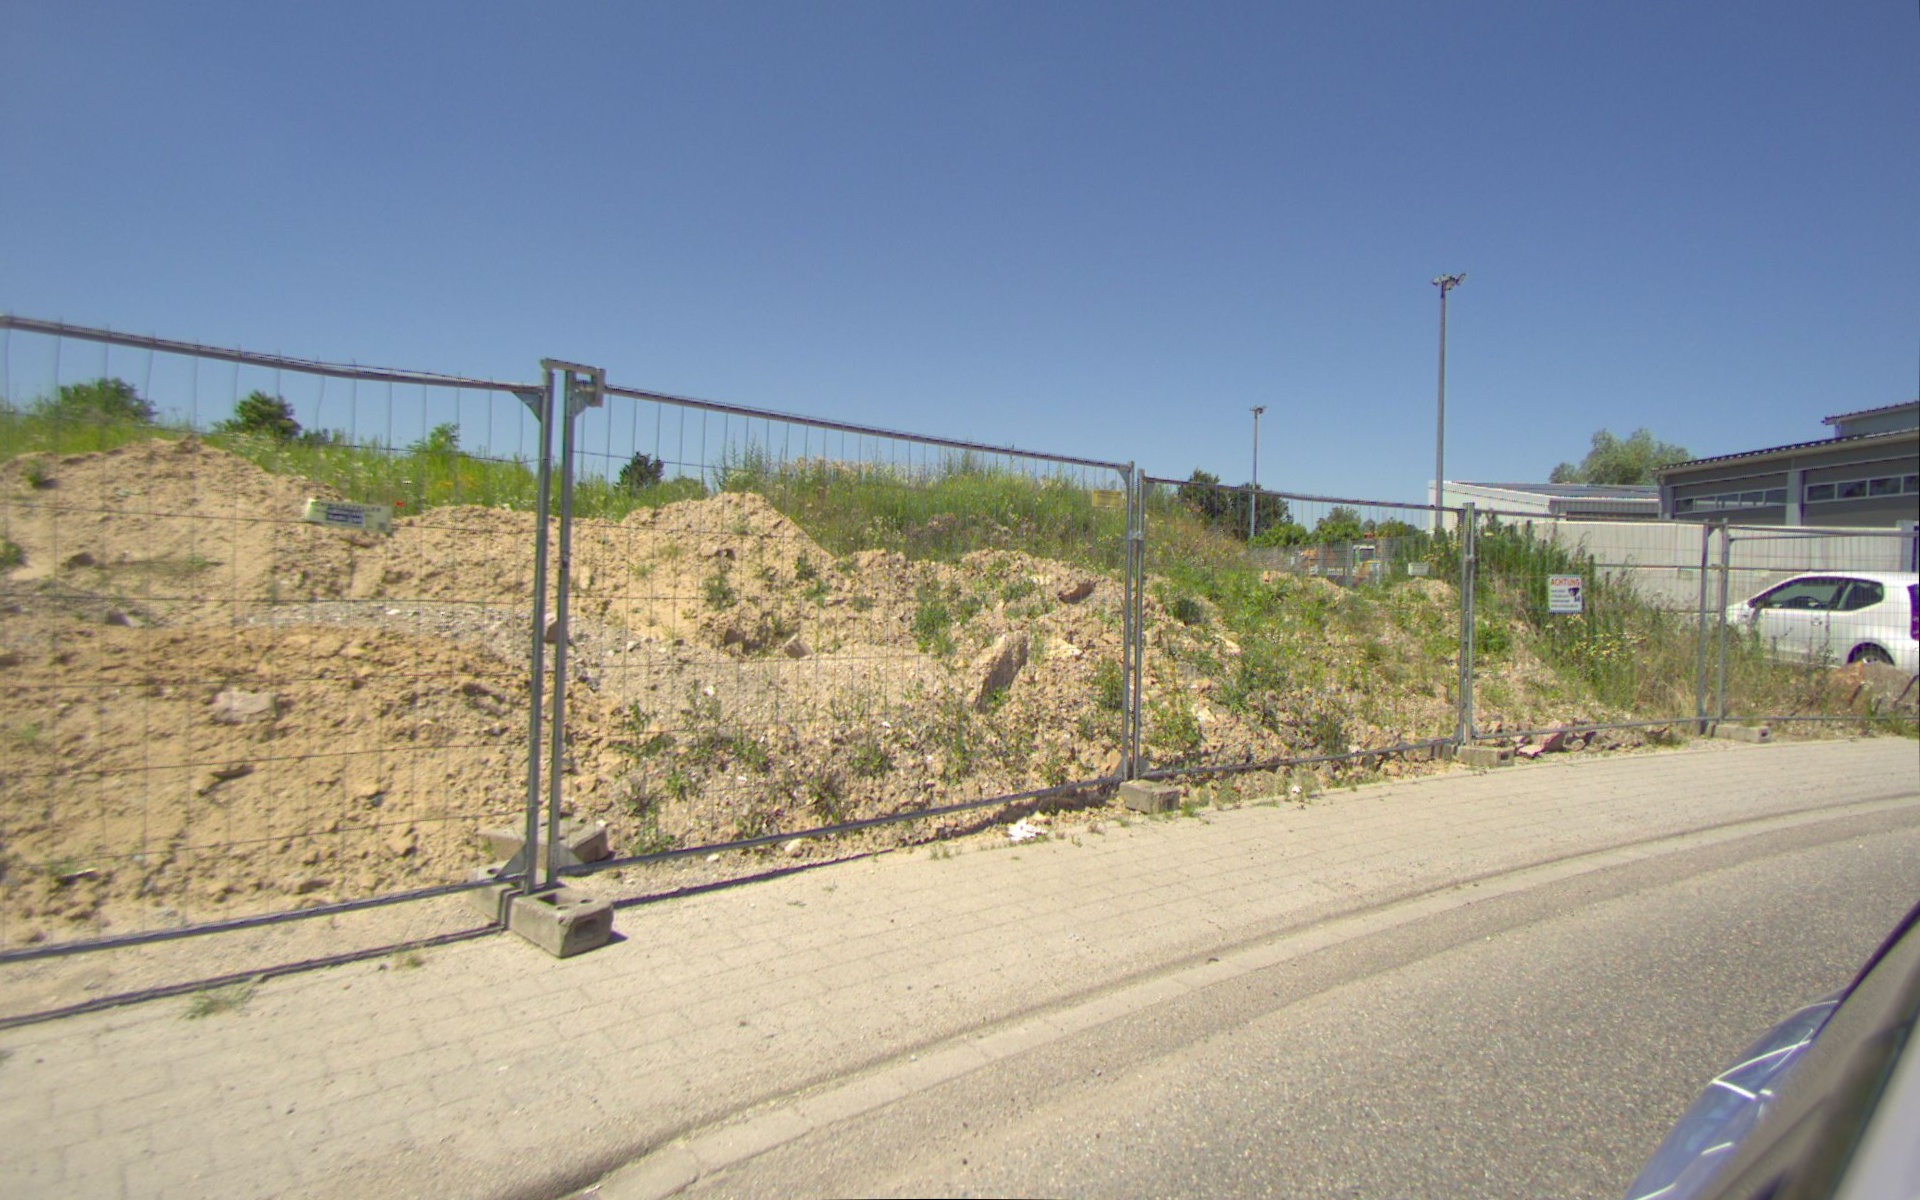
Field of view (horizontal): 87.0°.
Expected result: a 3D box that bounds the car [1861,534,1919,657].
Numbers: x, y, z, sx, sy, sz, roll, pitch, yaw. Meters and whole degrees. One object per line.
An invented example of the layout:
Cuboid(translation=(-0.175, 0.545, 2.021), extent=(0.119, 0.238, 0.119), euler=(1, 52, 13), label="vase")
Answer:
Cuboid(translation=(14.295, 0.112, 12.988), extent=(1.824, 1.674, 4.025), euler=(2, 6, 3), label="car")

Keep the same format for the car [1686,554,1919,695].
Cuboid(translation=(11.980, 0.219, 13.398), extent=(1.858, 1.479, 4.024), euler=(2, 4, 2), label="car")
